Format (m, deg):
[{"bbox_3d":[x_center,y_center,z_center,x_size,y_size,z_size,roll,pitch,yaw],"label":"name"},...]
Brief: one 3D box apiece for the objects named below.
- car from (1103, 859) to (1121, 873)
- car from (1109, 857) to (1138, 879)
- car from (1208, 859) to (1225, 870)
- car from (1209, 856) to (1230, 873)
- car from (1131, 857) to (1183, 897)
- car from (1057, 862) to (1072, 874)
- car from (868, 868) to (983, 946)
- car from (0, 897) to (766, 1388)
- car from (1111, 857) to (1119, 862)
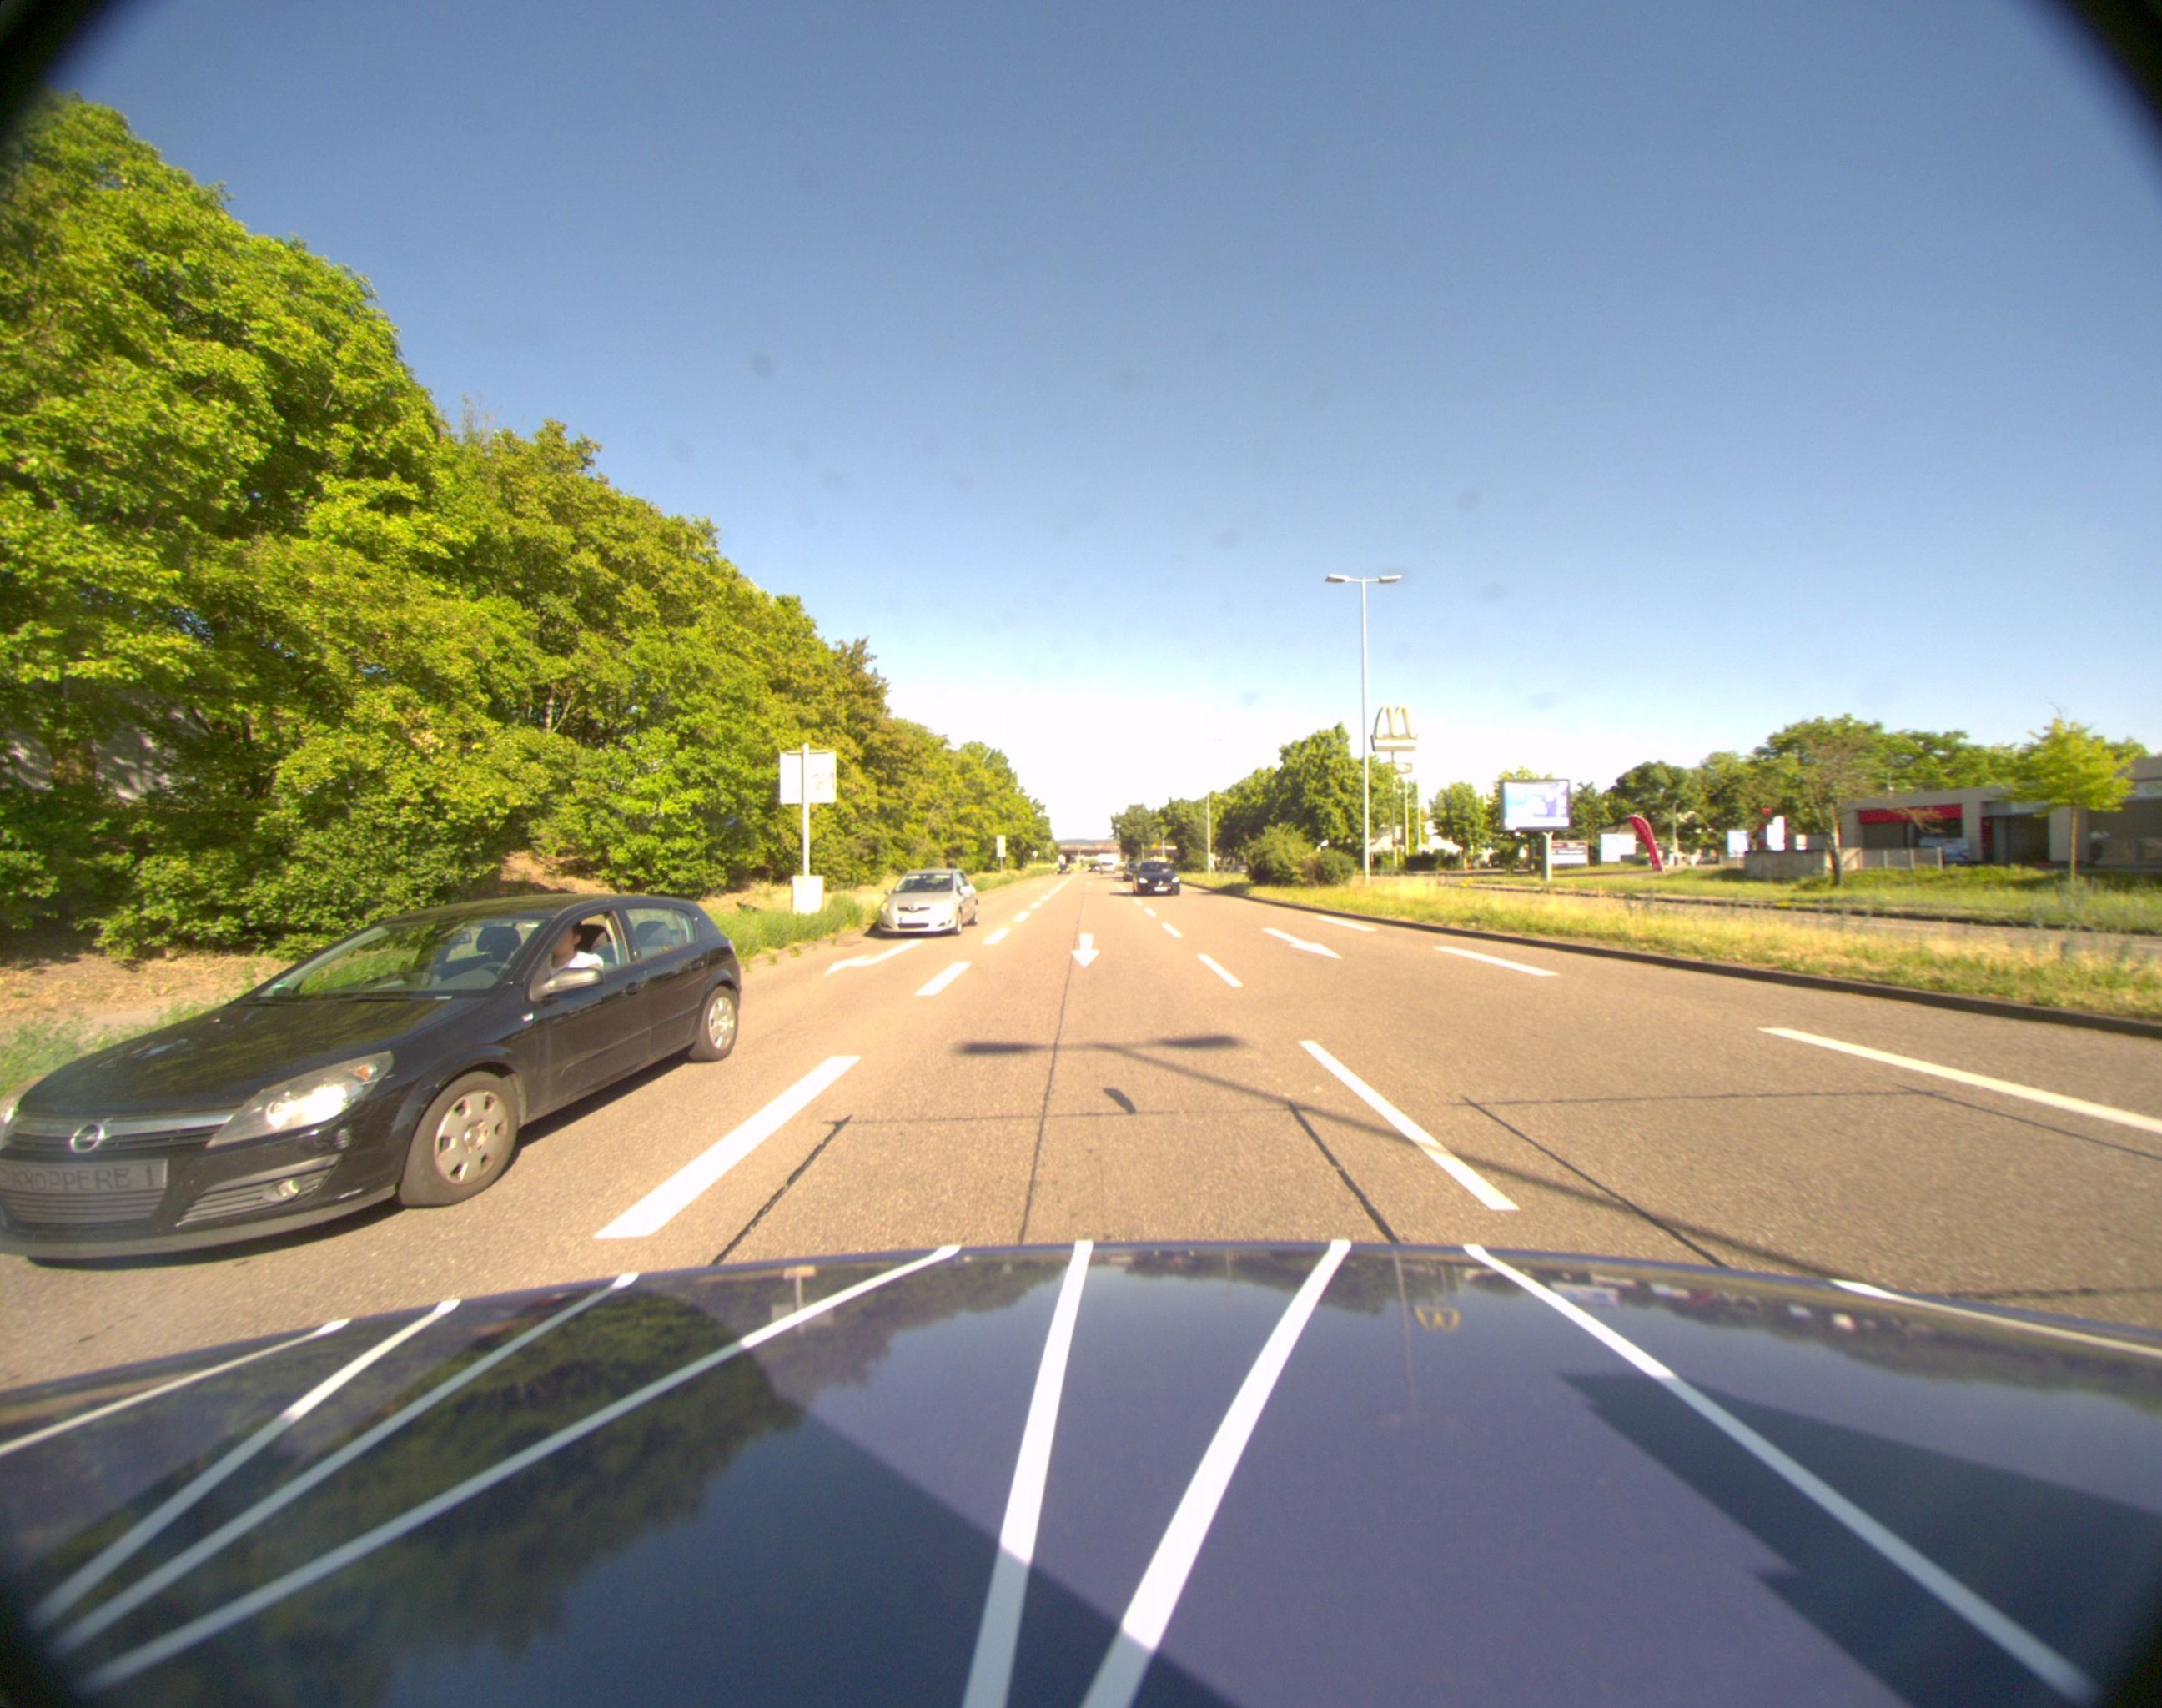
[{"bbox_3d":[3.811,1.454,94.720,2.025,1.601,4.099,-2,0,1],"label":"car"},{"bbox_3d":[3.180,1.024,57.158,1.952,1.501,4.462,-2,1,1],"label":"car"},{"bbox_3d":[22.259,1.691,125.169,1.998,1.619,4.771,-2,1,1],"label":"car"},{"bbox_3d":[15.702,1.156,86.263,1.649,1.803,3.706,-2,1,1],"label":"car"},{"bbox_3d":[3.291,0.969,33.592,1.788,1.592,4.583,-2,0,0],"label":"car"},{"bbox_3d":[-2.328,1.974,109.072,2.036,1.601,4.099,-2,0,1],"label":"car"},{"bbox_3d":[-3.552,1.157,18.156,1.788,1.528,4.108,-2,0,1],"label":"car"},{"bbox_3d":[-3.838,1.150,4.835,1.738,1.433,4.371,-2,0,1],"label":"car"},{"bbox_3d":[9.034,1.416,203.894,1.998,1.433,4.000,-1,0,2],"label":"car"}]
